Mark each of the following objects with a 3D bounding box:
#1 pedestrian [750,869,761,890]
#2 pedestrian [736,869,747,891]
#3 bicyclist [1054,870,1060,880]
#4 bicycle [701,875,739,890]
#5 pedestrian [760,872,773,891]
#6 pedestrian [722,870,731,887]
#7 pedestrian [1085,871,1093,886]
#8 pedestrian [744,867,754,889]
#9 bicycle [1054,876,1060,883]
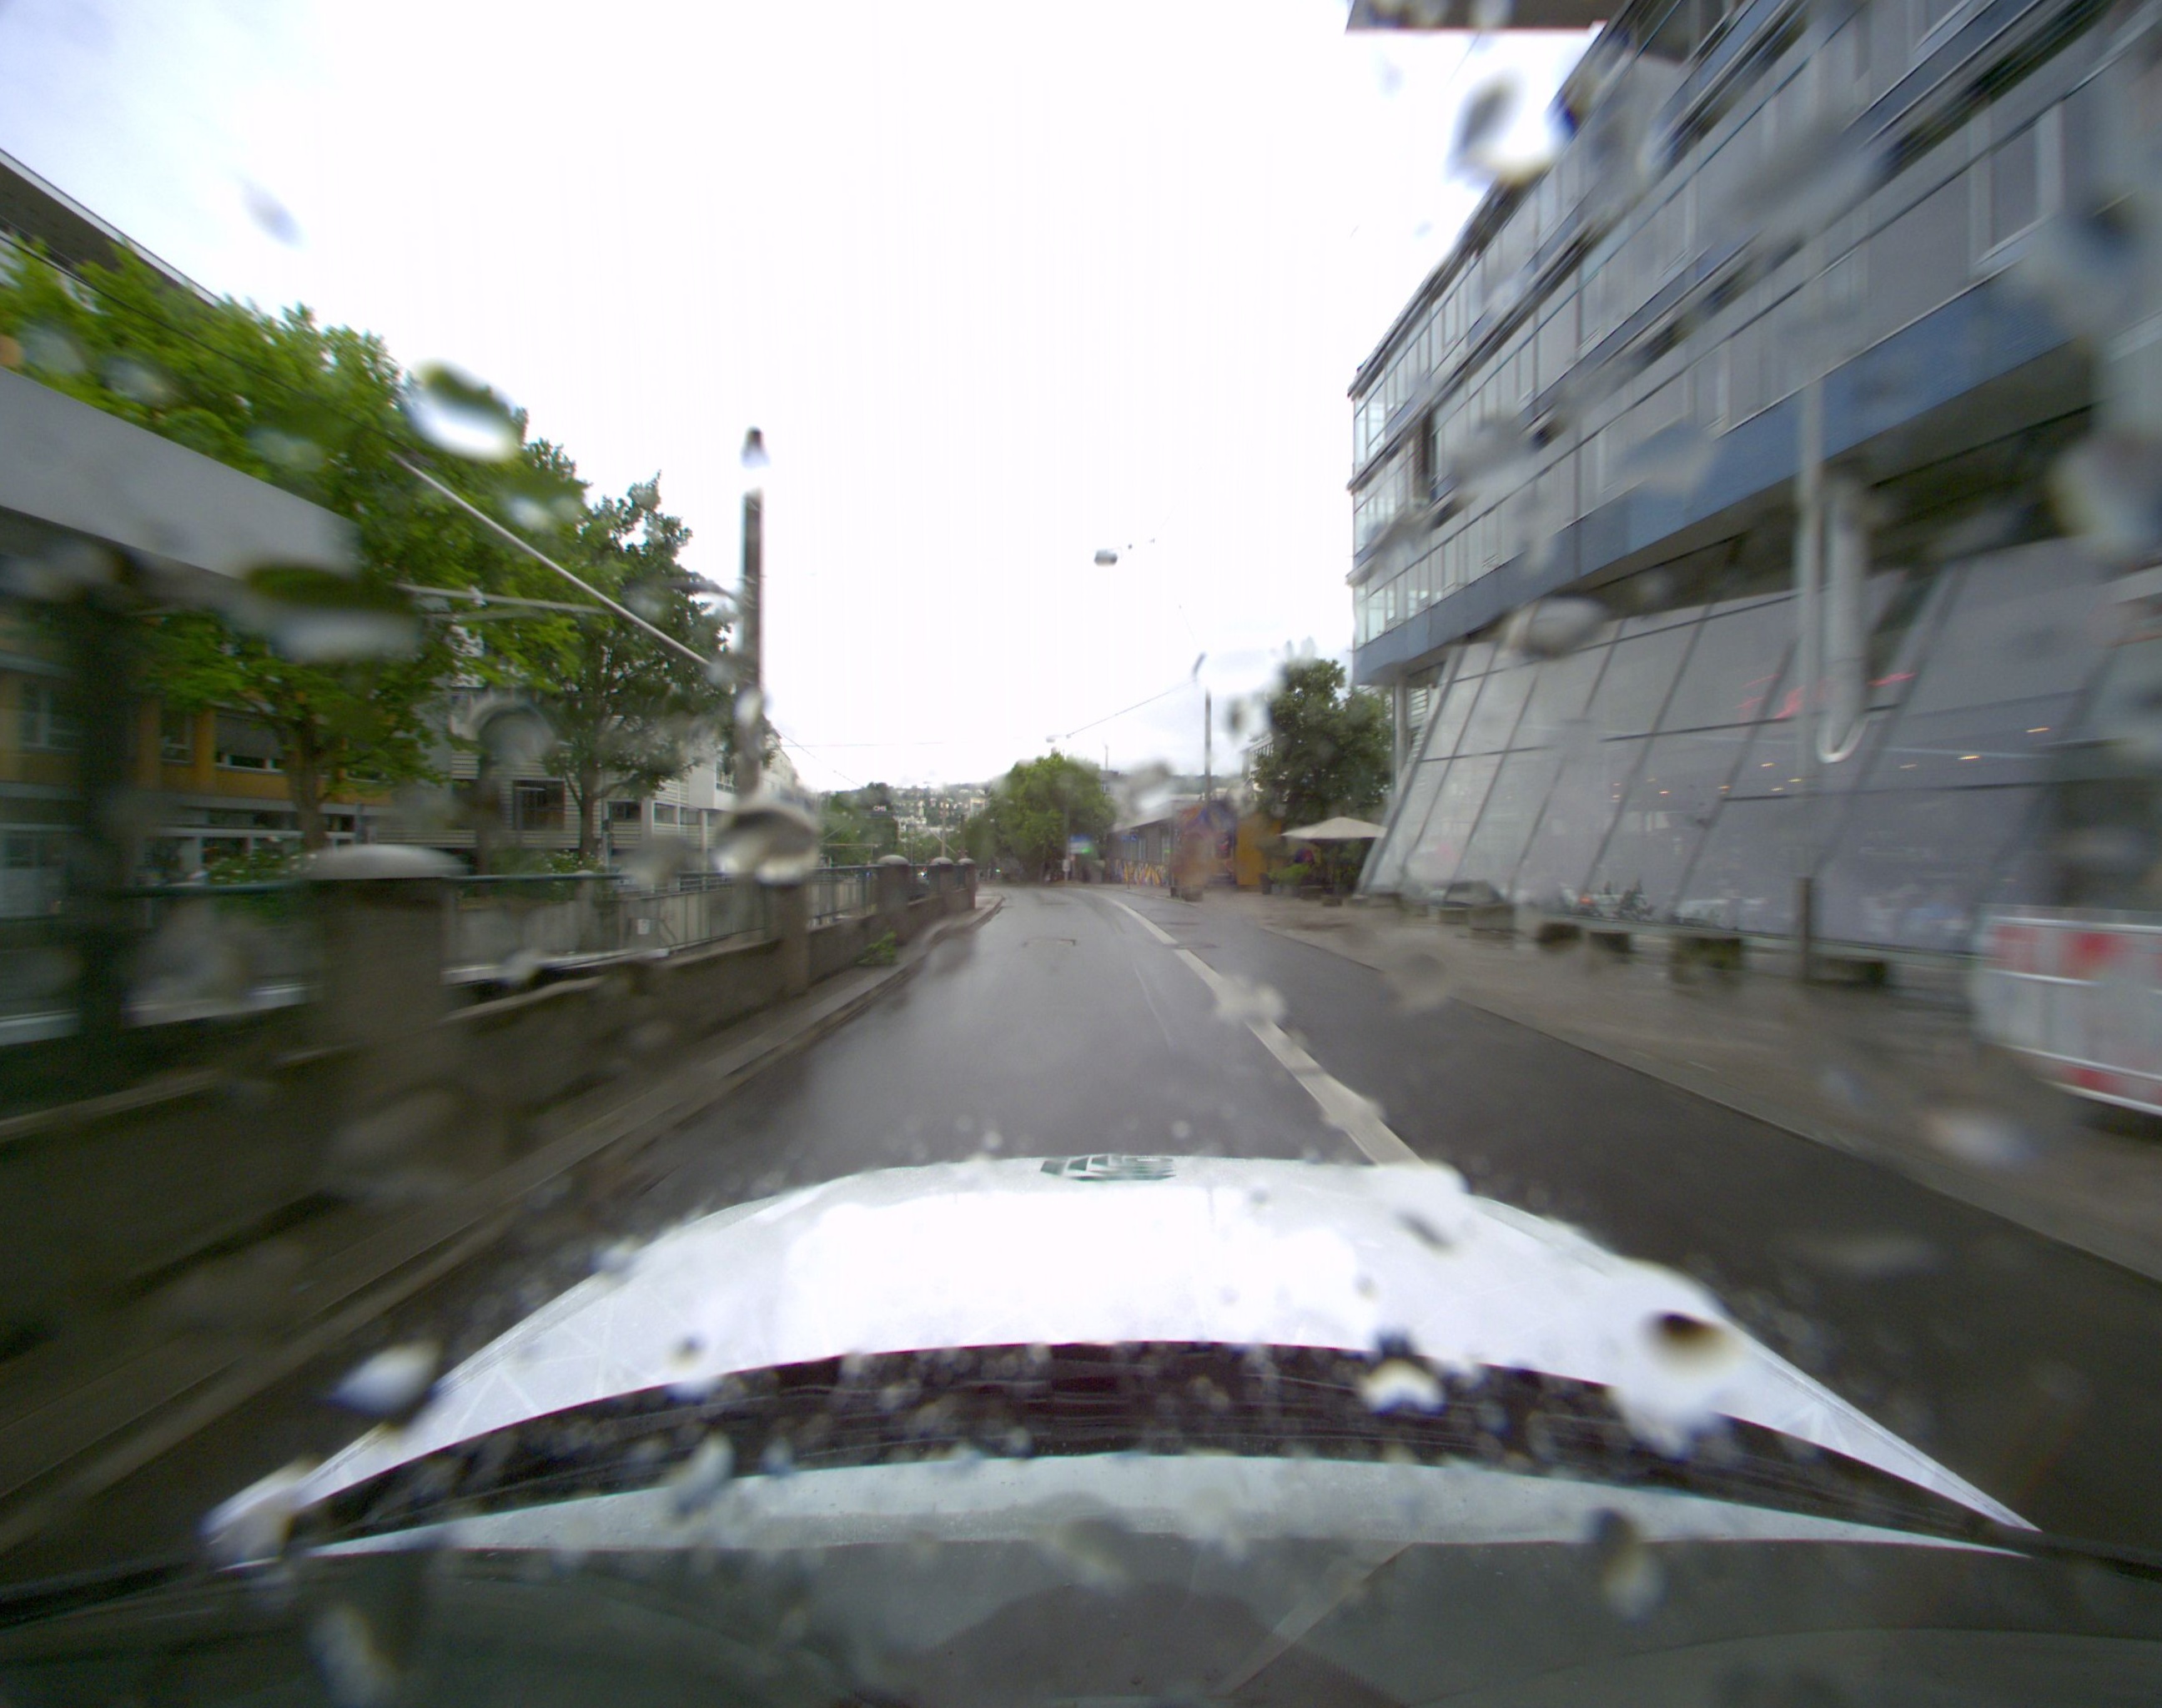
[{"bbox_3d":[-27.745,2.171,69.464,0.601,1.722,0.678,-2,-2,36],"label":"pedestrian"},{"bbox_3d":[-25.234,1.948,60.567,0.675,1.616,0.933,0,-2,-29],"label":"pedestrian"},{"bbox_3d":[-3.843,3.414,131.388,0.806,1.628,1.043,-1,-2,-7],"label":"bicyclist"},{"bbox_3d":[-27.935,2.184,63.141,1.693,1.043,4.505,1,-1,-10],"label":"bicycle"},{"bbox_3d":[-26.616,2.330,68.857,0.785,1.643,0.678,-1,-2,30],"label":"pedestrian"},{"bbox_3d":[-30.029,2.072,68.985,0.607,1.419,0.671,0,-2,-10],"label":"pedestrian"},{"bbox_3d":[1.011,3.200,105.560,0.805,1.864,1.054,-2,-2,-5],"label":"pedestrian"},{"bbox_3d":[-27.600,2.011,67.704,0.675,1.785,0.933,0,-2,-29],"label":"pedestrian"},{"bbox_3d":[-3.852,4.101,131.514,0.806,1.112,2.192,-1,-2,-7],"label":"bicycle"}]
